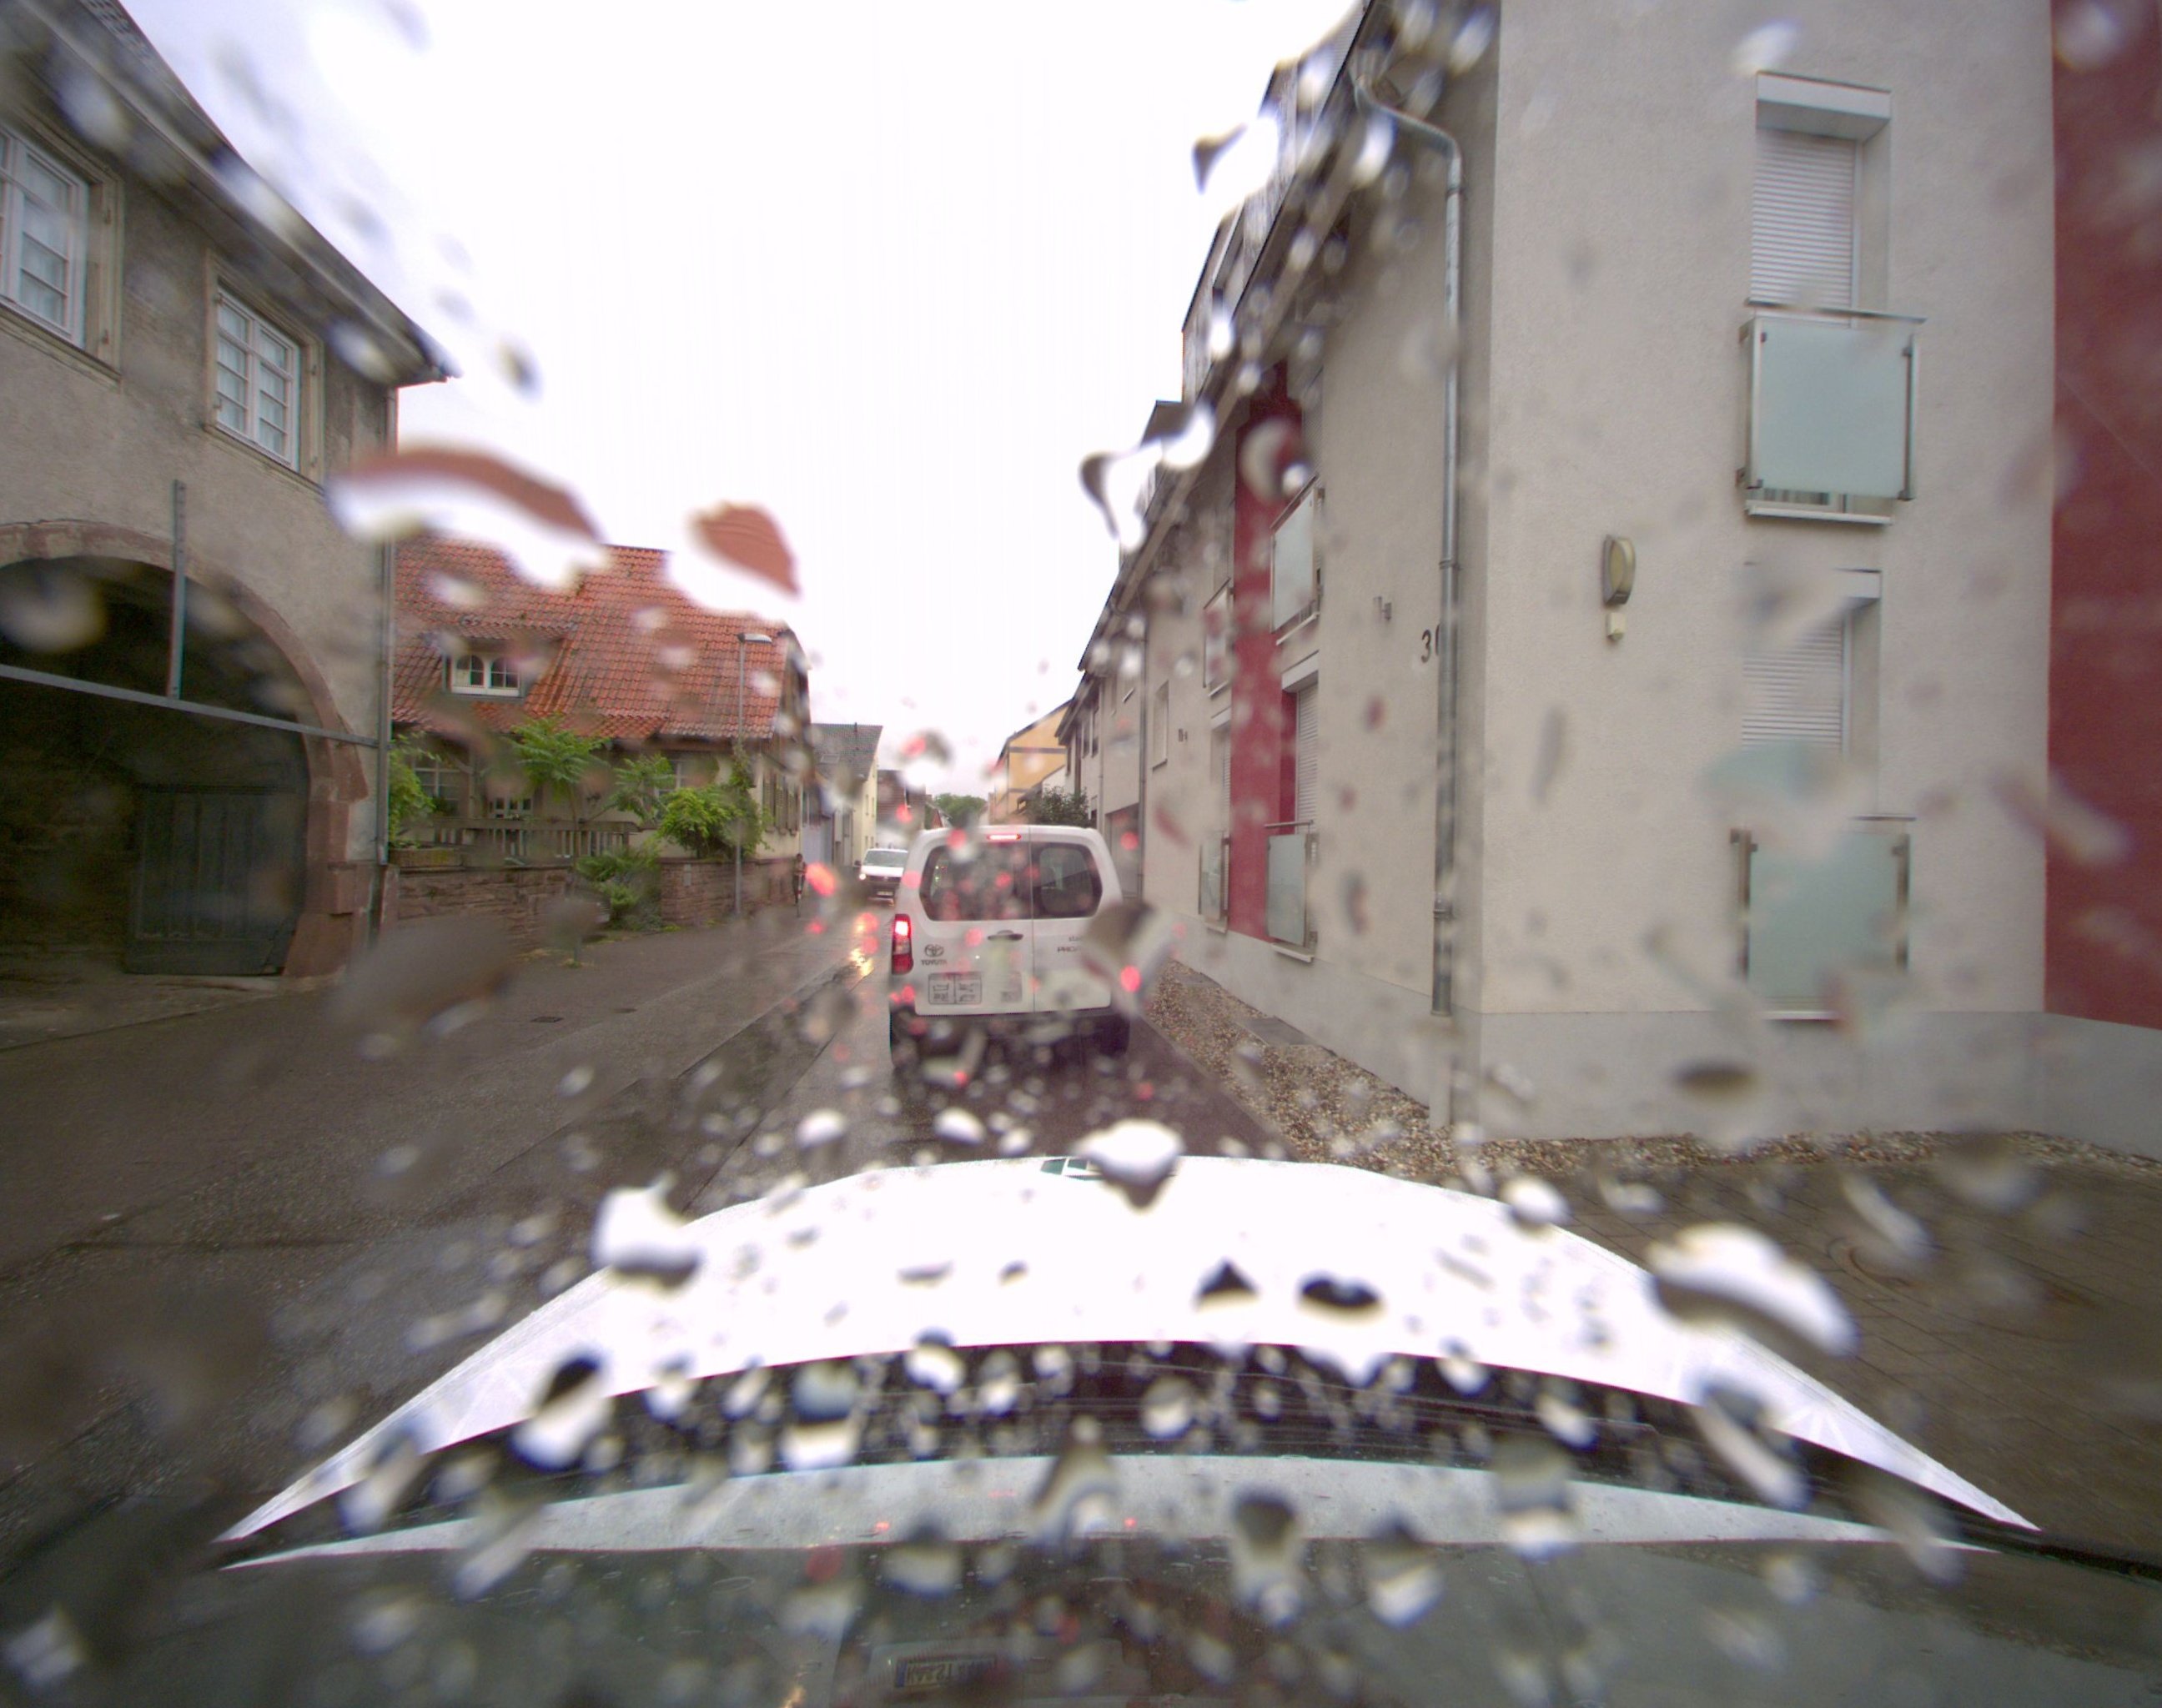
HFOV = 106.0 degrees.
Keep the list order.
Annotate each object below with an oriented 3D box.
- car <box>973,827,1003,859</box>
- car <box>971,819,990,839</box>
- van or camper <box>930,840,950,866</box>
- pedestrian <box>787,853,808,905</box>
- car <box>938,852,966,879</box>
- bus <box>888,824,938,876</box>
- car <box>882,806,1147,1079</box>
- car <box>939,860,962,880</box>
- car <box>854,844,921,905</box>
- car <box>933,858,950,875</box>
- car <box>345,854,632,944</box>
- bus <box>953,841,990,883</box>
[{"bbox_3d":[-6.271,-0.686,54.722,1.826,2.014,3.683,2,-1,-8],"label":"car"},{"bbox_3d":[-11.542,-2.849,93.453,1.992,2.014,3.990,2,-1,-7],"label":"car"},{"bbox_3d":[-16.504,-0.052,95.549,1.833,2.926,5.350,2,-1,-7],"label":"van or camper"},{"bbox_3d":[-8.444,0.729,24.297,0.569,1.530,0.566,0,-1,-18],"label":"pedestrian"},{"bbox_3d":[-7.708,0.684,48.863,1.560,1.480,3.575,2,-1,-8],"label":"car"},{"bbox_3d":[-11.825,-0.199,57.945,2.792,3.329,8.154,2,-1,-8],"label":"bus"},{"bbox_3d":[-0.725,0.608,7.598,1.794,1.819,4.089,-1,-1,-8],"label":"car"},{"bbox_3d":[-9.565,1.187,59.865,1.560,1.372,3.575,2,-1,-7],"label":"car"},{"bbox_3d":[-6.830,0.712,29.150,1.892,1.967,4.708,2,-1,-9],"label":"car"},{"bbox_3d":[-15.502,1.392,90.352,1.577,1.724,3.542,2,-1,-7],"label":"car"},{"bbox_3d":[-9.792,0.727,13.705,3.523,1.376,1.591,1,0,-6],"label":"car"},{"bbox_3d":[-9.325,0.714,69.317,2.792,3.180,8.154,3,-1,-8],"label":"bus"}]
